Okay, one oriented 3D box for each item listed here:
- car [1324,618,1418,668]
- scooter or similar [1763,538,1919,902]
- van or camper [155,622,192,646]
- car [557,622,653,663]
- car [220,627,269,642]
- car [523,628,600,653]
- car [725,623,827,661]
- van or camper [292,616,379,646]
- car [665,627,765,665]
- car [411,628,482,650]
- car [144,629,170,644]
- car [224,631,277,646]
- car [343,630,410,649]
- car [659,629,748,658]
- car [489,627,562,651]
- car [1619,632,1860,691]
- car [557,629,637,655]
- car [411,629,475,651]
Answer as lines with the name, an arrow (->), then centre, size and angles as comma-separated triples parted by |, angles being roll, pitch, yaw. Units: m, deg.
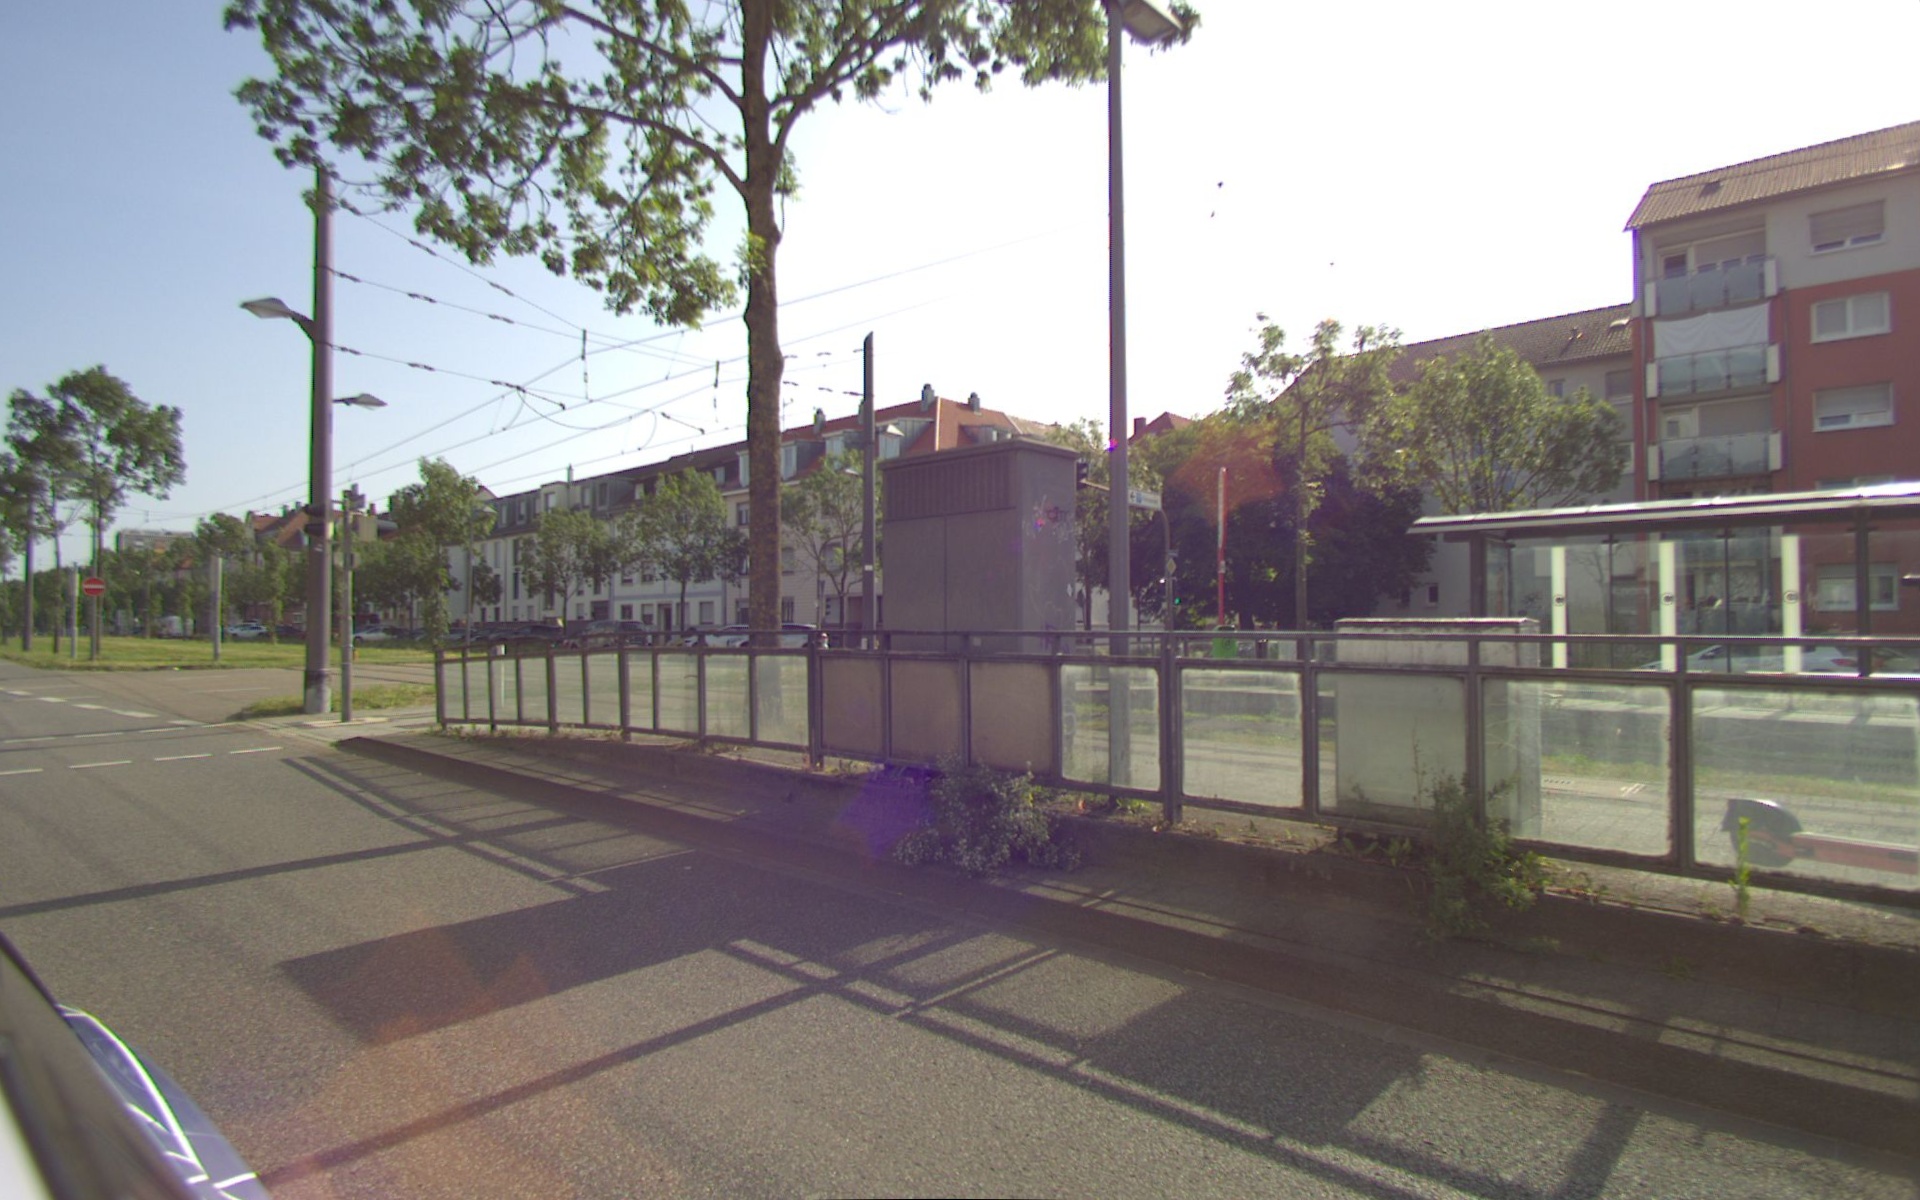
car -> 15.751, 1.584, 38.693 | 2.000, 1.708, 3.943 | -2, 0, 43
scooter or similar -> 3.548, 0.409, 3.404 | 0.420, 1.248, 1.266 | 1, -2, -20
van or camper -> -85.122, 3.640, 109.443 | 6.058, 2.493, 2.118 | -2, -4, 43
car -> -15.964, 1.901, 45.388 | 4.711, 1.719, 1.972 | -2, -5, 42
car -> -78.348, 3.759, 110.824 | 4.033, 1.541, 1.817 | -1, 0, -10
car -> -22.770, 2.297, 57.940 | 3.933, 1.244, 1.704 | -1, 0, -14
car -> -8.124, 1.836, 44.569 | 4.280, 1.474, 1.969 | -1, 0, -14
van or camper -> -54.987, 2.739, 89.237 | 6.062, 2.566, 2.419 | 0, -1, -9
car -> -11.246, 2.086, 46.712 | 4.392, 1.526, 2.004 | -1, 0, -11
car -> -36.181, 2.745, 71.404 | 4.265, 1.386, 2.006 | -1, 0, -21
car -> -92.185, 4.175, 116.186 | 4.162, 1.751, 1.795 | -2, -4, 44
car -> -76.310, 4.108, 108.875 | 4.296, 1.486, 1.861 | -1, 0, -10
car -> -46.091, 3.120, 80.023 | 4.325, 1.330, 1.739 | -1, -1, -14
car -> -12.341, 2.082, 48.944 | 3.938, 1.187, 2.003 | -1, 0, -6
car -> -26.728, 2.399, 62.398 | 3.989, 1.298, 2.006 | -1, 0, -20
car -> 17.513, 1.323, 22.856 | 4.164, 1.156, 1.814 | -2, 0, 42
car -> -19.927, 2.303, 55.685 | 3.933, 1.268, 1.881 | -1, 0, -14
car -> -35.172, 2.708, 68.988 | 3.715, 1.386, 1.670 | -1, 0, -21
